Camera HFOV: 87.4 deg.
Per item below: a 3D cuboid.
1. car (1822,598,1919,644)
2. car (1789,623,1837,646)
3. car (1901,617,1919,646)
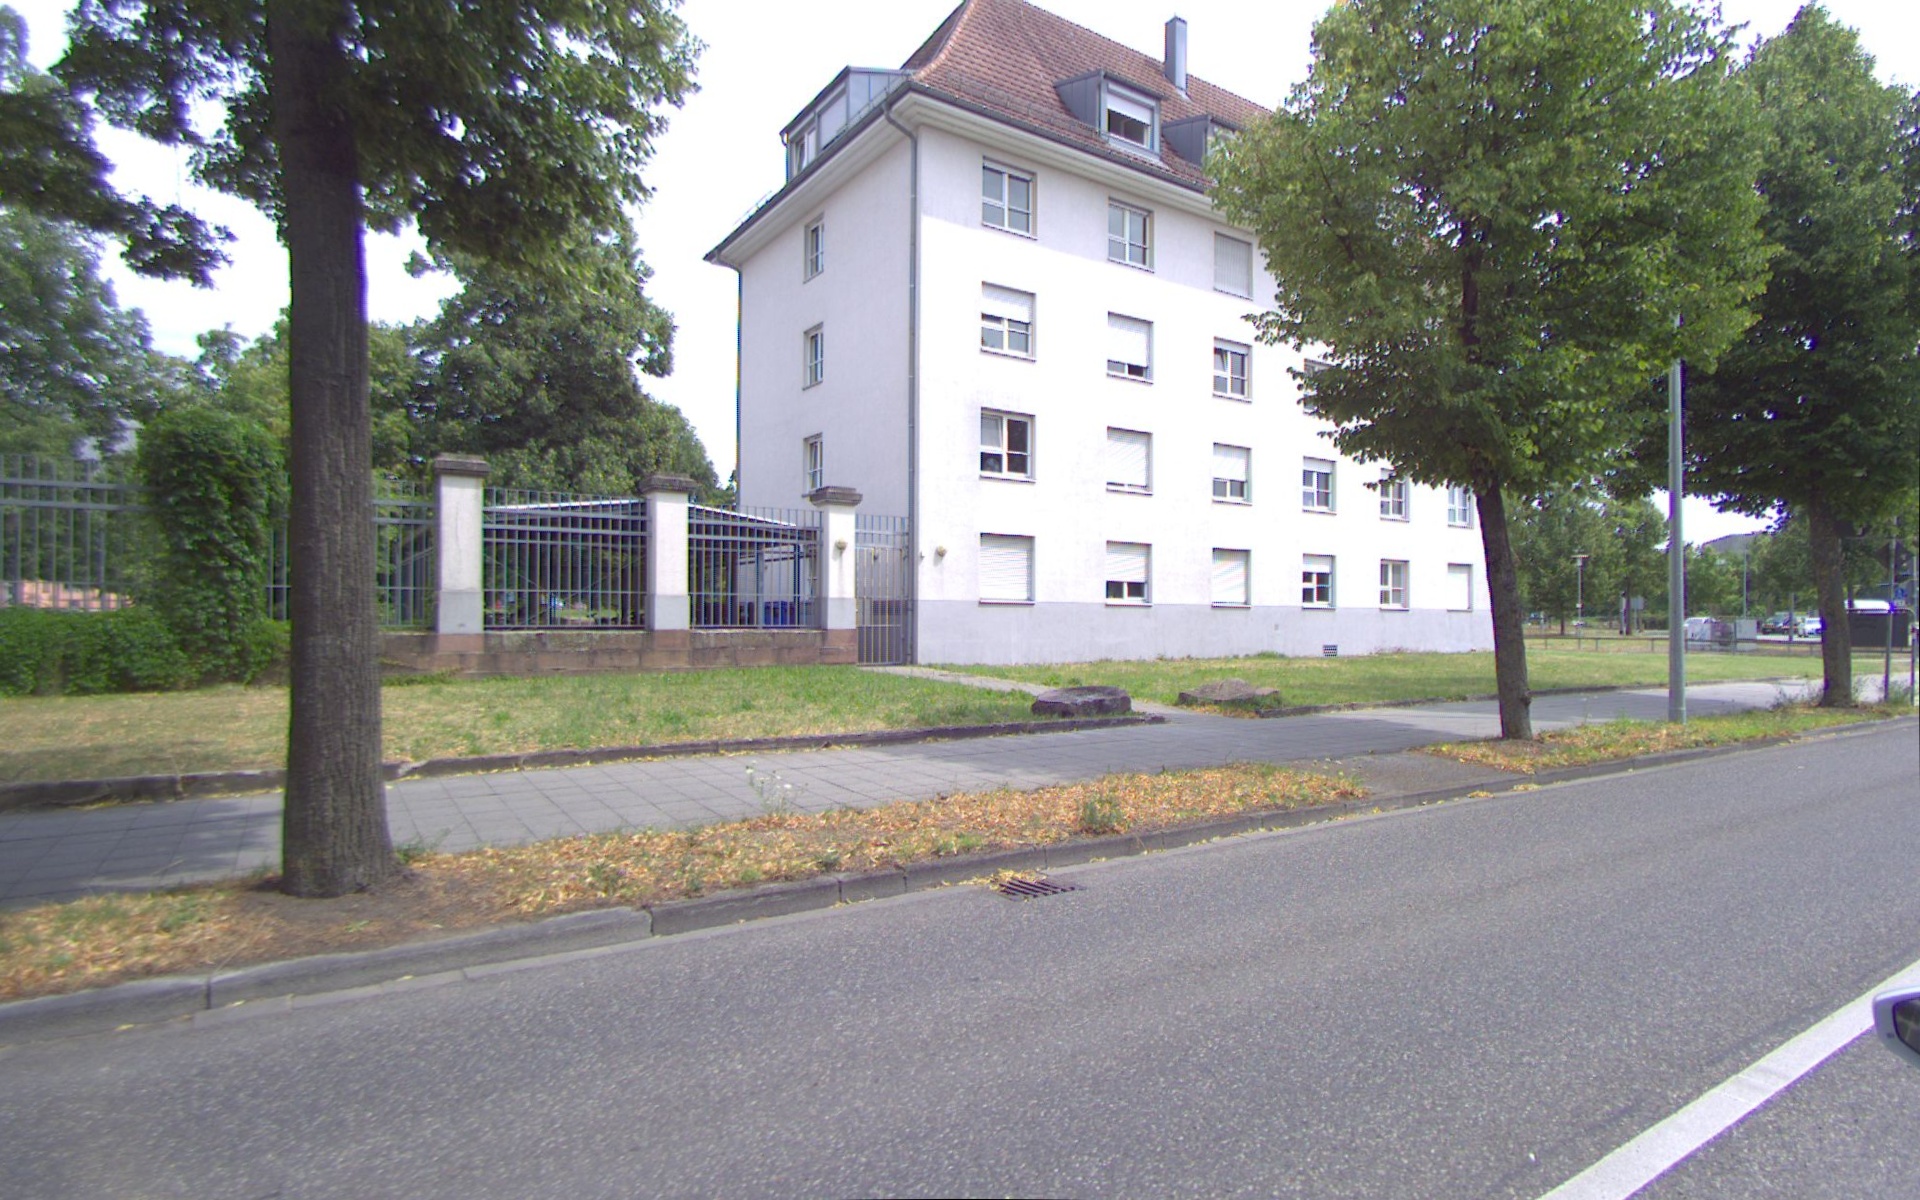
[{"bbox_3d":[59.839,1.420,66.166,2.567,2.888,5.677,-1,-2,18],"label":"car"},{"bbox_3d":[65.336,2.633,77.014,1.856,1.683,3.995,-2,-3,27],"label":"car"},{"bbox_3d":[51.697,1.653,51.852,1.750,1.498,4.238,1,-1,-20],"label":"car"}]
